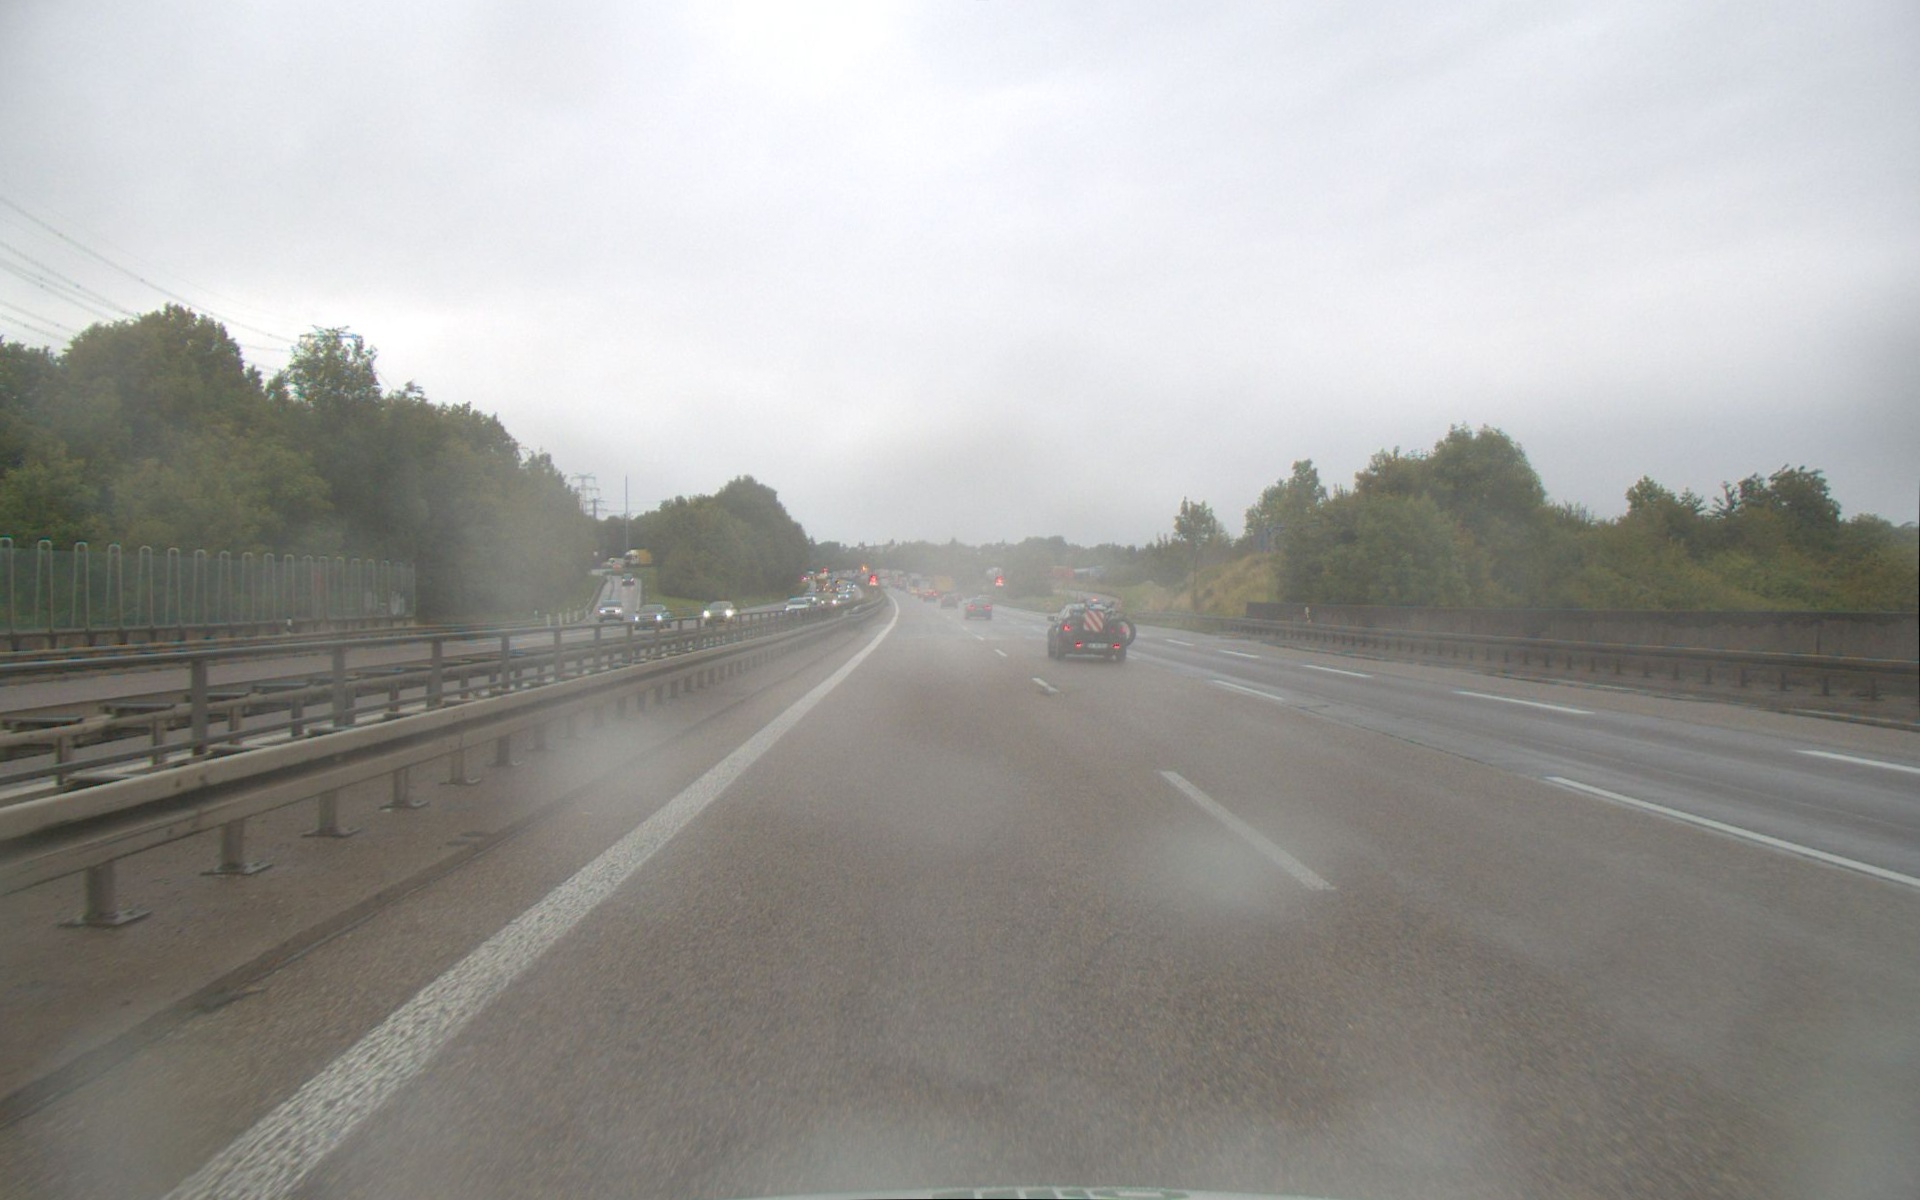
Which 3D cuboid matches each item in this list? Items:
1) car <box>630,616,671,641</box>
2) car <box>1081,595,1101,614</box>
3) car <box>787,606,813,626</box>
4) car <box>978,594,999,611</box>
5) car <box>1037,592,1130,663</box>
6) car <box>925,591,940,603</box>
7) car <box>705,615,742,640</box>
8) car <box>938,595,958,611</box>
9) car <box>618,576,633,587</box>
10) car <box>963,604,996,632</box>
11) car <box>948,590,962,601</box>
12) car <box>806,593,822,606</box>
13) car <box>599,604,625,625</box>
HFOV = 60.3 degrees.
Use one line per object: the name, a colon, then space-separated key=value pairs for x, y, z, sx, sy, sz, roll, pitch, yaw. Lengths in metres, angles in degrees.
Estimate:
car: x=-18.707 y=1.714 z=100.102 sx=1.779 sy=1.413 sz=4.088 roll=-2 pitch=0 yaw=-1
car: x=12.908 y=0.426 z=162.896 sx=1.882 sy=1.739 sz=4.002 roll=-1 pitch=0 yaw=3
car: x=-12.173 y=1.224 z=126.012 sx=1.623 sy=1.462 sz=4.088 roll=-2 pitch=0 yaw=-1
car: x=3.061 y=0.287 z=177.403 sx=1.954 sy=1.791 sz=3.998 roll=-1 pitch=1 yaw=-3
car: x=3.167 y=0.701 z=43.463 sx=2.015 sy=1.700 sz=5.521 roll=1 pitch=-1 yaw=0
car: x=-4.135 y=-0.454 z=247.612 sx=1.954 sy=1.657 sz=3.998 roll=-1 pitch=1 yaw=-3
car: x=-15.082 y=1.754 z=105.644 sx=1.779 sy=1.462 sz=4.088 roll=-2 pitch=0 yaw=-1
car: x=-1.334 y=0.356 z=179.952 sx=1.954 sy=1.657 sz=3.998 roll=-1 pitch=1 yaw=-3
car: x=-50.642 y=-2.758 z=250.455 sx=1.936 sy=1.570 sz=3.983 roll=-1 pitch=0 yaw=-15
car: x=1.337 y=1.236 z=113.668 sx=1.954 sy=1.791 sz=3.998 roll=-1 pitch=1 yaw=-3
car: x=-0.728 y=-0.677 z=259.784 sx=1.954 sy=1.657 sz=3.998 roll=-1 pitch=1 yaw=-3
car: x=-19.497 y=-0.050 z=220.911 sx=1.866 sy=1.694 sz=4.712 roll=-1 pitch=0 yaw=-2
car: x=-29.289 y=1.201 z=139.319 sx=1.957 sy=1.699 sz=3.990 roll=-1 pitch=0 yaw=-10
